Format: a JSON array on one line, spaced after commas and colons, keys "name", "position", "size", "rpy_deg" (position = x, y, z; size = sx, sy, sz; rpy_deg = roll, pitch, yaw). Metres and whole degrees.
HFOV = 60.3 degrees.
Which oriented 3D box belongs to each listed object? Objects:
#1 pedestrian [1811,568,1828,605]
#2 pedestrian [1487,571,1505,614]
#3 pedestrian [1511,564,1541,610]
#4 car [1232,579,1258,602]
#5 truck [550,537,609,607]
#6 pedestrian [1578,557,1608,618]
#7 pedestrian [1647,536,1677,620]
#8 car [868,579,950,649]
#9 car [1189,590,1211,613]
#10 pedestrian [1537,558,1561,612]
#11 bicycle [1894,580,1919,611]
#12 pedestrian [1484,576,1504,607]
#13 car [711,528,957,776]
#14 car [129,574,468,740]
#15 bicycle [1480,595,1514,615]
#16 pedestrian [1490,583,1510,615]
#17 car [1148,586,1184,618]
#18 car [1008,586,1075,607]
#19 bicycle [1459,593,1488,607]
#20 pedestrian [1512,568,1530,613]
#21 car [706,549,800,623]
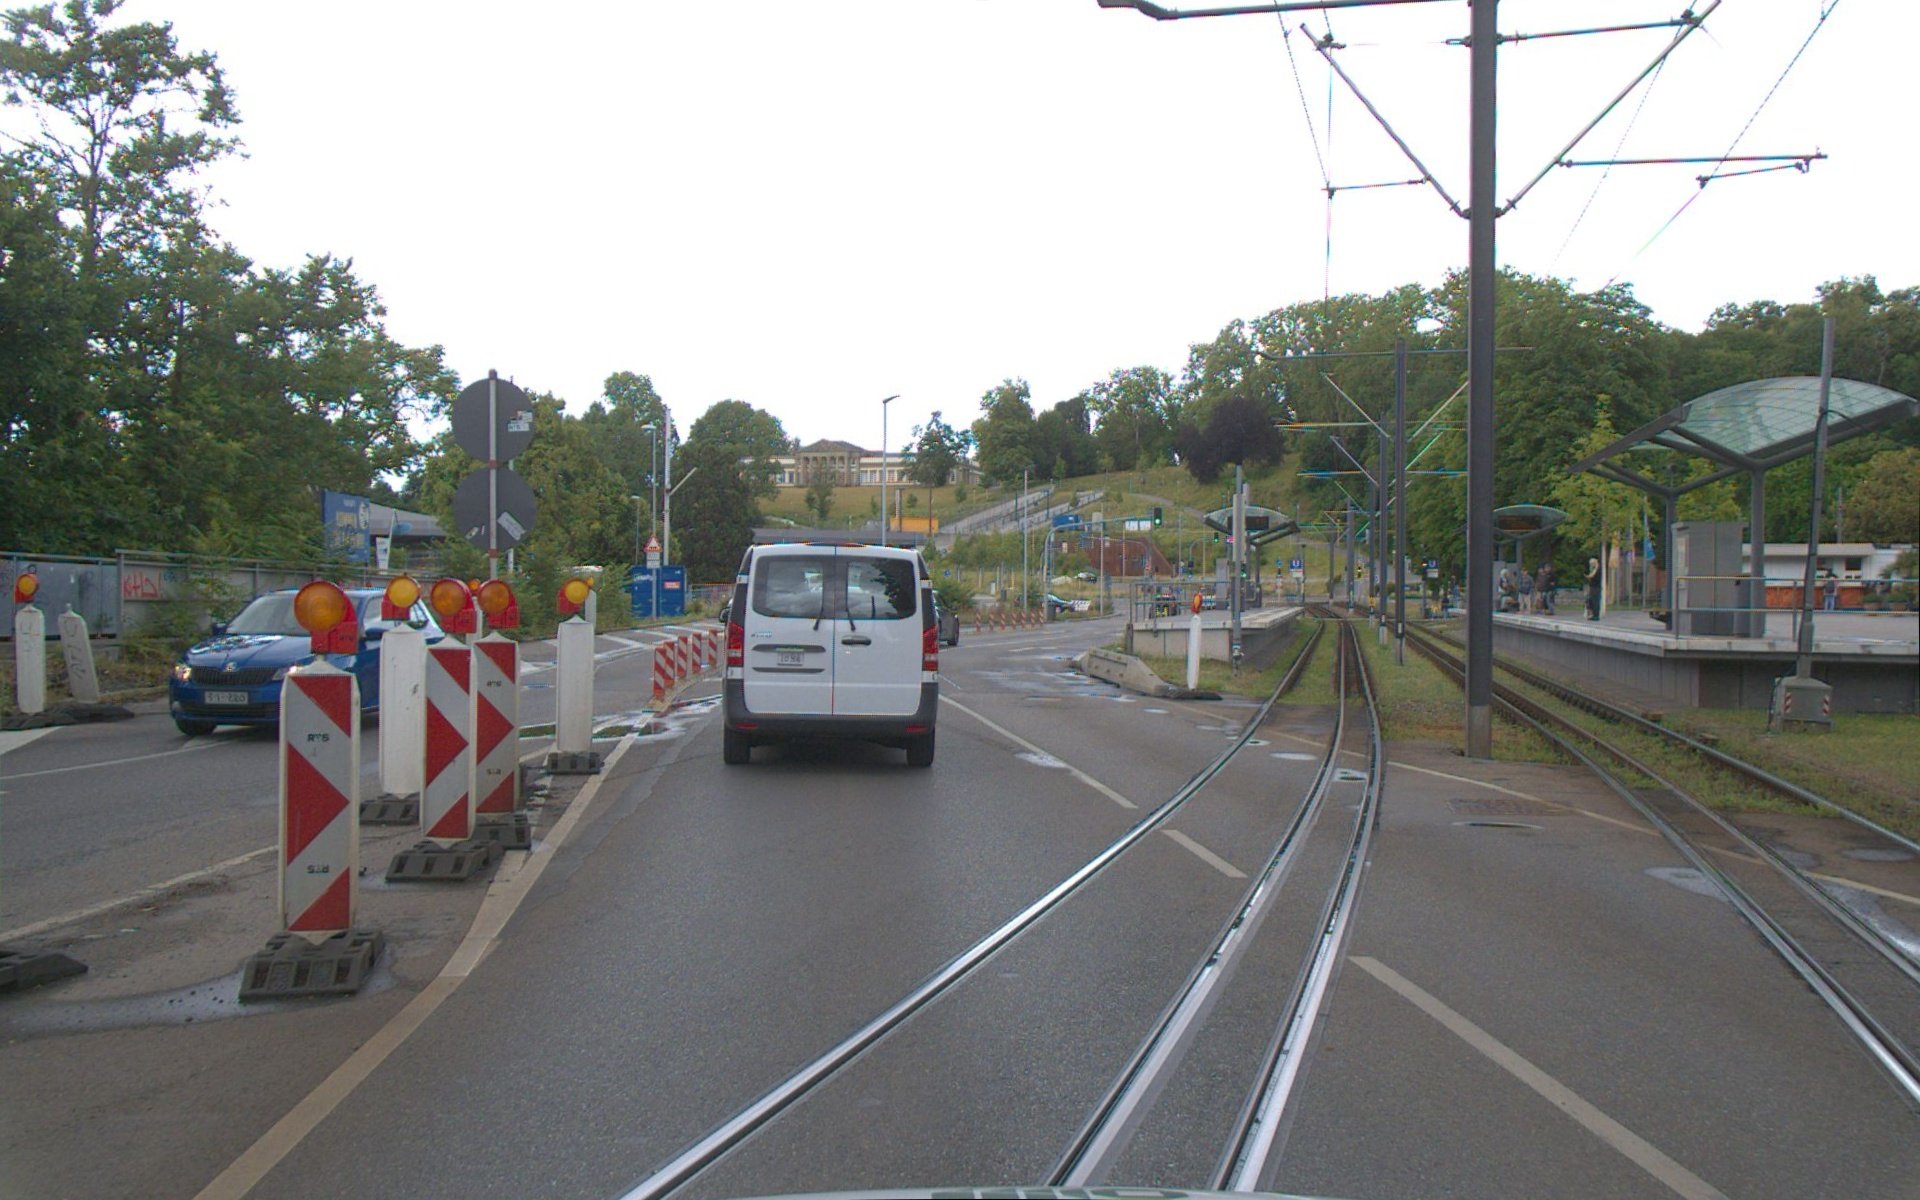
[{"name": "pedestrian", "position": [35.696, -0.577, 68.678], "size": [0.475, 1.513, 0.460], "rpy_deg": [3, 0, 16]}, {"name": "pedestrian", "position": [21.797, -0.295, 67.275], "size": [0.532, 1.706, 0.676], "rpy_deg": [3, 0, 10]}, {"name": "pedestrian", "position": [21.609, -0.481, 63.143], "size": [0.842, 1.706, 0.762], "rpy_deg": [3, 0, 3]}, {"name": "car", "position": [26.007, -0.848, 151.079], "size": [2.154, 2.049, 5.155], "rpy_deg": [1, 0, 9]}, {"name": "truck", "position": [-19.976, -1.472, 86.485], "size": [2.745, 3.394, 8.447], "rpy_deg": [-1, 1, -14]}, {"name": "pedestrian", "position": [18.178, -0.350, 47.490], "size": [0.619, 1.716, 0.867], "rpy_deg": [3, 0, 13]}, {"name": "pedestrian", "position": [14.363, -0.454, 33.852], "size": [0.476, 1.689, 0.628], "rpy_deg": [3, 0, 22]}, {"name": "car", "position": [-1.242, 0.318, 41.840], "size": [1.800, 1.610, 4.063], "rpy_deg": [2, 1, 1]}, {"name": "car", "position": [19.893, 0.110, 137.003], "size": [1.715, 1.802, 4.003], "rpy_deg": [3, 1, 9]}, {"name": "pedestrian", "position": [20.978, -0.528, 58.925], "size": [0.619, 1.870, 0.951], "rpy_deg": [3, 0, 14]}, {"name": "bicycle", "position": [34.377, -0.155, 59.170], "size": [0.553, 1.079, 1.708], "rpy_deg": [2, 1, -17]}, {"name": "pedestrian", "position": [23.495, -0.363, 72.795], "size": [0.659, 1.346, 0.969], "rpy_deg": [3, 0, 12]}, {"name": "car", "position": [-1.068, 0.392, 15.446], "size": [1.920, 1.937, 4.460], "rpy_deg": [1, 1, -2]}, {"name": "car", "position": [-6.737, 0.503, 17.326], "size": [1.659, 1.487, 3.916], "rpy_deg": [0, 2, 6]}, {"name": "bicycle", "position": [30.464, 0.294, 93.812], "size": [1.726, 1.051, 0.484], "rpy_deg": [3, 0, 14]}, {"name": "pedestrian", "position": [20.801, -0.034, 63.673], "size": [0.643, 1.212, 0.676], "rpy_deg": [3, 0, 15]}, {"name": "car", "position": [12.374, 0.090, 99.036], "size": [1.951, 1.802, 4.003], "rpy_deg": [3, 1, 9]}, {"name": "car", "position": [6.160, -0.255, 124.923], "size": [4.614, 1.503, 2.000], "rpy_deg": [0, 1, 23]}, {"name": "bicycle", "position": [35.334, 0.002, 113.753], "size": [1.871, 0.911, 0.531], "rpy_deg": [0, 0, 14]}, {"name": "pedestrian", "position": [20.976, -0.369, 61.852], "size": [0.513, 1.648, 0.676], "rpy_deg": [3, 0, 14]}, {"name": "car", "position": [-5.320, -0.401, 43.088], "size": [1.825, 1.813, 4.749], "rpy_deg": [0, 2, 0]}]
